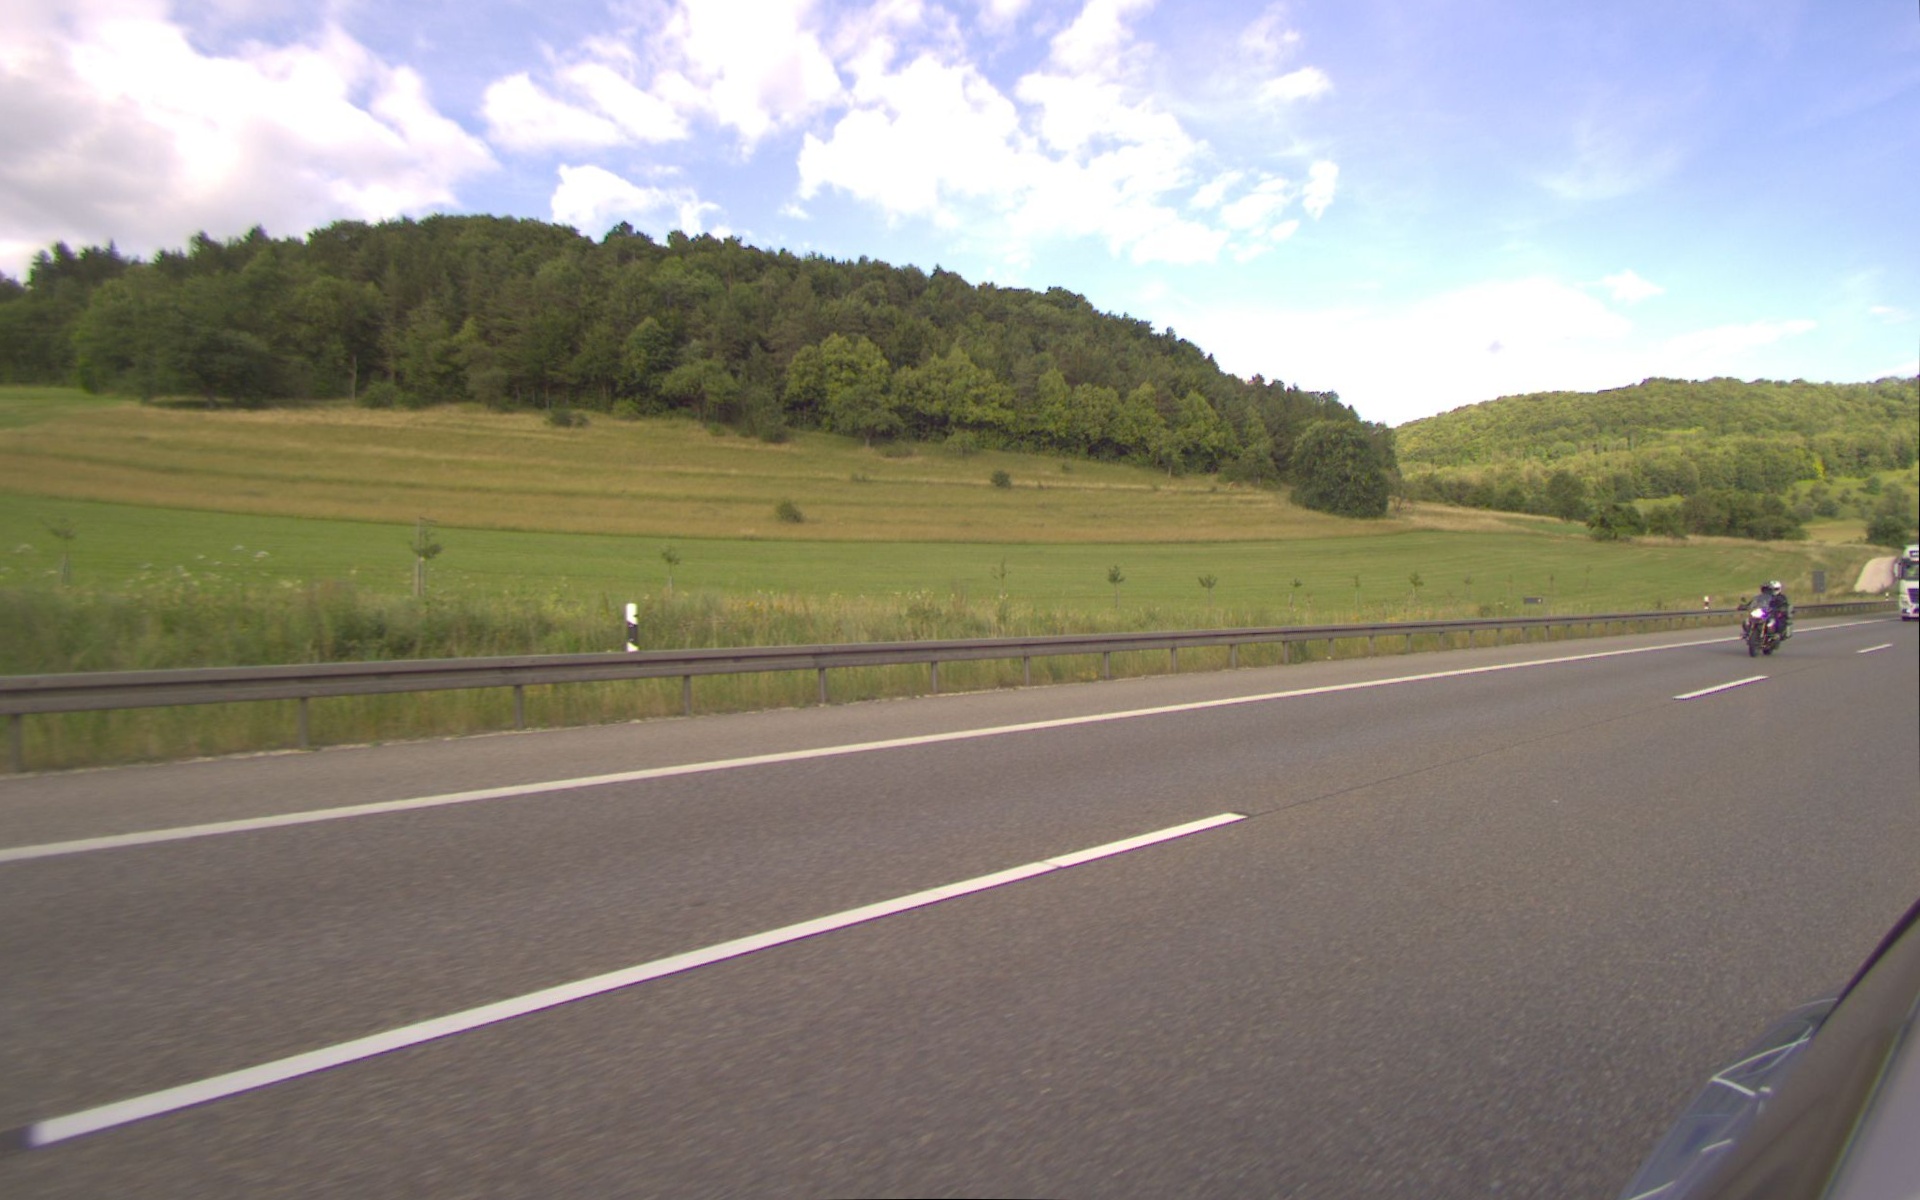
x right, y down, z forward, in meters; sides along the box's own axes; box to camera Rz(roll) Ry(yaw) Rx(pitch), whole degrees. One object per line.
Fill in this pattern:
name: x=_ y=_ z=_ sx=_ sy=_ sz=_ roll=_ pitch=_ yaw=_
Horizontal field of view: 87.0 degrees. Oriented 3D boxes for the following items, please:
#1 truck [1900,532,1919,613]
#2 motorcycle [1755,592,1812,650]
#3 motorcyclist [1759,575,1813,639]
truck: x=54.954 y=-1.472 z=55.175 sx=17.413 sy=4.042 sz=2.971 roll=-1 pitch=1 yaw=-39
motorcycle: x=20.212 y=0.492 z=24.829 sx=1.706 sy=1.356 sz=0.629 roll=-1 pitch=1 yaw=-34
motorcyclist: x=20.344 y=0.172 z=24.929 sx=0.783 sy=1.534 sz=0.878 roll=-1 pitch=0 yaw=-39
